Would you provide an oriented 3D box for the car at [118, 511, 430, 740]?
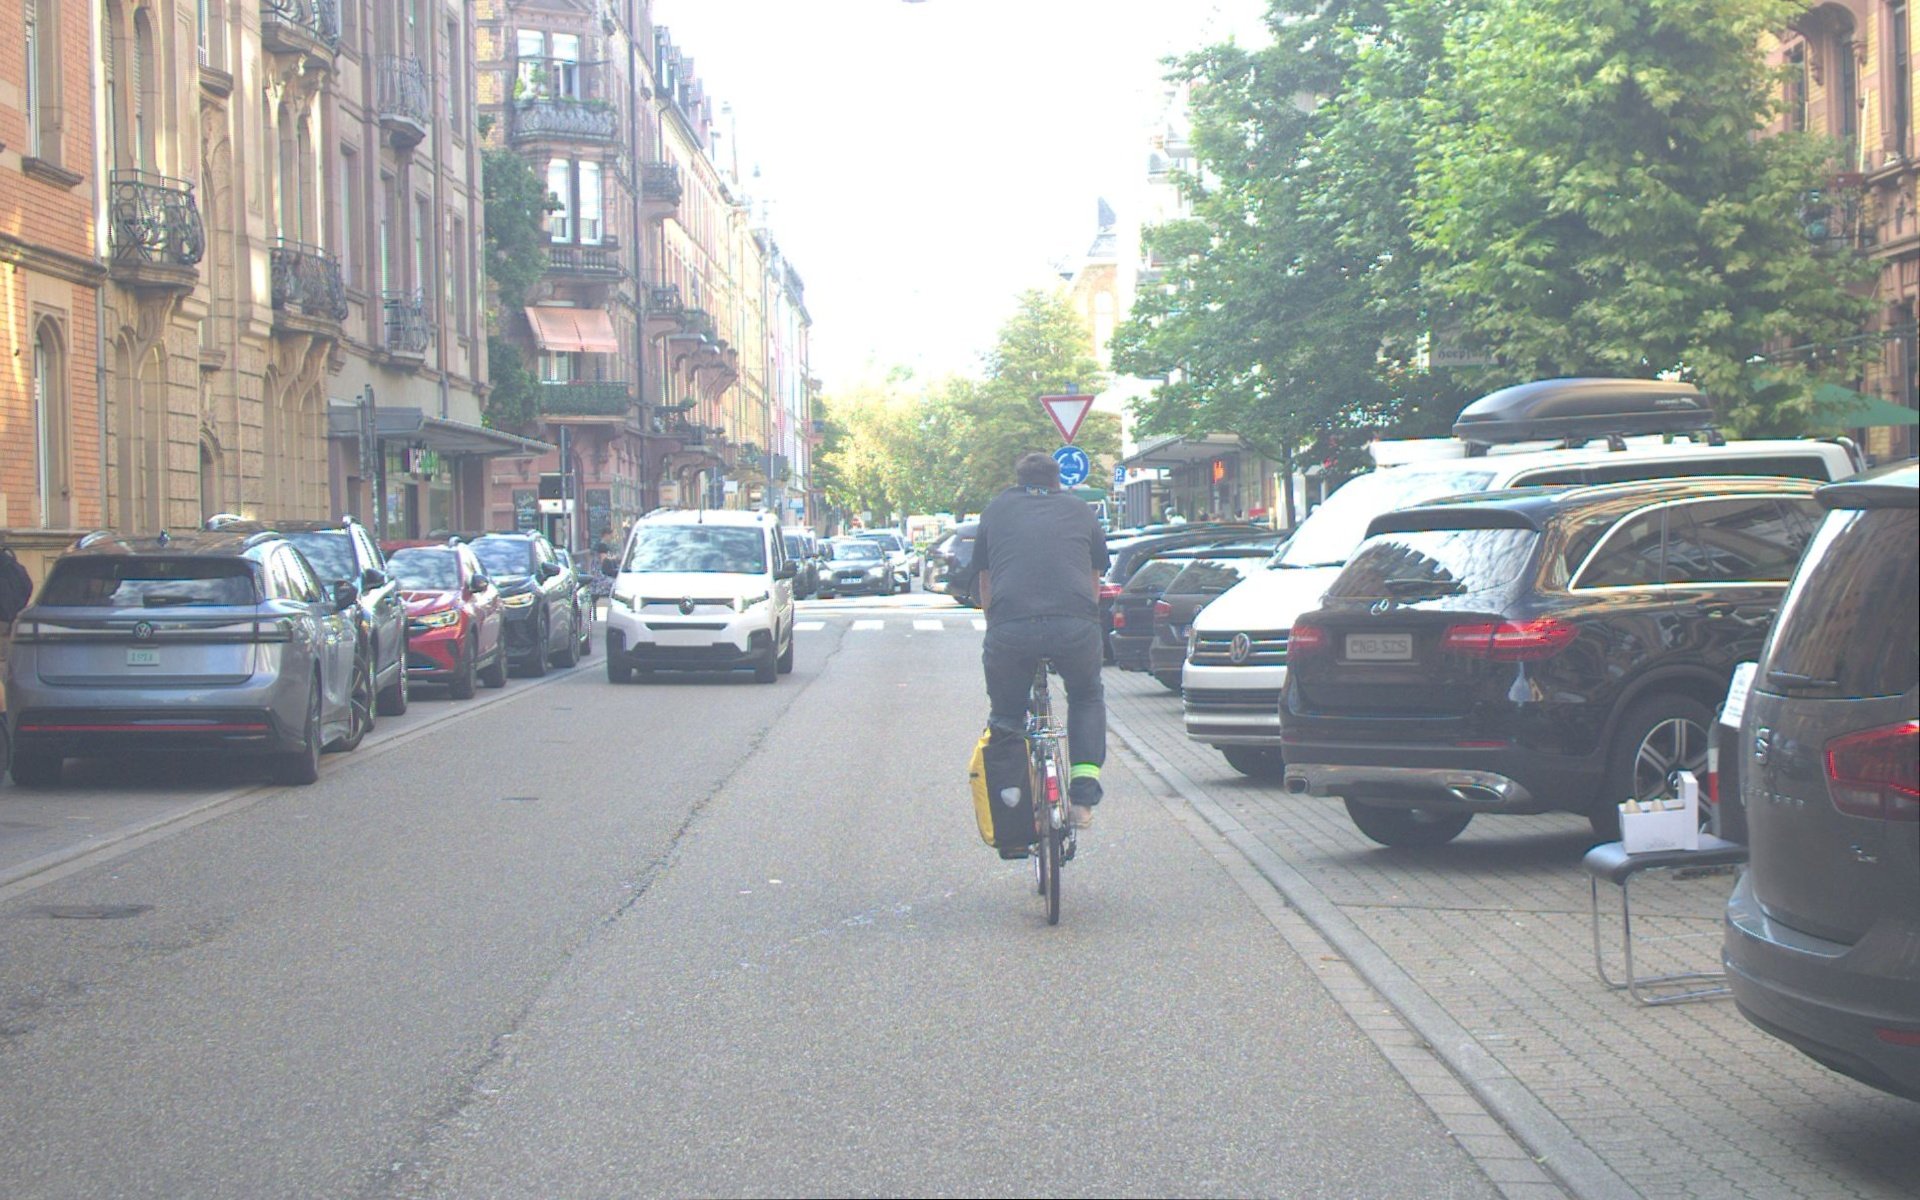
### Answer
[{"bbox_3d":[-5.460,0.130,27.941,1.872,1.675,4.895,0,2,-4],"label":"car"}]

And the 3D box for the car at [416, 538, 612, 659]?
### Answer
[{"bbox_3d":[-5.651,-0.056,44.026,1.993,1.415,4.245,-1,1,-1],"label":"car"}]

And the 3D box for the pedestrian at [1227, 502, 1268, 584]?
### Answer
[{"bbox_3d":[6.502,-1.290,77.756,0.869,1.845,0.612,-1,1,5],"label":"pedestrian"}]

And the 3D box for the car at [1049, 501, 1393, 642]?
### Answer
[{"bbox_3d":[3.613,-0.410,47.529,4.340,1.639,1.822,-4,2,-26],"label":"car"}]

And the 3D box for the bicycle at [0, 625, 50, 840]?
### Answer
[{"bbox_3d":[-5.207,0.658,16.582,0.482,1.055,1.902,1,1,24],"label":"bicycle"}]

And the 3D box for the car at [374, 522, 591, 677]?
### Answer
[{"bbox_3d":[-5.362,-0.037,39.150,1.790,1.623,4.847,-1,1,0],"label":"car"}]

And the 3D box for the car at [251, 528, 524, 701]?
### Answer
[{"bbox_3d":[-5.518,0.100,33.679,1.993,1.539,4.427,-1,1,-1],"label":"car"}]

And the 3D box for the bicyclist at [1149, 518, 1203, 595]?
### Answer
[{"bbox_3d":[4.712,-0.955,74.860,0.856,1.660,0.788,1,1,42],"label":"bicyclist"}]

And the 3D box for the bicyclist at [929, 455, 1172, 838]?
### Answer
[{"bbox_3d":[0.345,0.173,13.645,0.933,1.478,0.747,0,1,-1],"label":"bicyclist"}]

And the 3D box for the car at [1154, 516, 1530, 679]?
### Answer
[{"bbox_3d":[4.026,-0.054,36.012,3.709,1.480,1.741,-4,2,-38],"label":"car"}]

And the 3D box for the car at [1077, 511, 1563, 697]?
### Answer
[{"bbox_3d":[3.503,-0.005,33.133,4.455,1.459,1.879,-4,3,-35],"label":"car"}]

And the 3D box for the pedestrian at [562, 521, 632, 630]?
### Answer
[{"bbox_3d":[-6.065,-0.409,57.435,0.783,1.773,0.791,-1,1,38],"label":"pedestrian"}]

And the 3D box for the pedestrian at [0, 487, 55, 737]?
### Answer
[{"bbox_3d":[-7.134,0.075,25.172,0.756,1.802,0.863,0,1,3],"label":"pedestrian"}]

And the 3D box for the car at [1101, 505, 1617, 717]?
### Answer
[{"bbox_3d":[3.562,0.050,30.230,4.456,1.472,1.889,-6,4,-40],"label":"car"}]

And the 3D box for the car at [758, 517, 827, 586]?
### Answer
[{"bbox_3d":[-5.086,-1.491,104.633,1.993,2.007,4.001,-2,1,-2],"label":"car"}]

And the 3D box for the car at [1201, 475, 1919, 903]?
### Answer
[{"bbox_3d":[3.477,0.299,15.936,4.444,1.726,2.000,-1,2,-35],"label":"car"}]

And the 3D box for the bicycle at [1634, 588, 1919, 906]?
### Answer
[{"bbox_3d":[3.464,0.550,13.429,0.404,1.178,1.918,-3,1,-31],"label":"bicycle"}]

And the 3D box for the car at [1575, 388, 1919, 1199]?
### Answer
[{"bbox_3d":[3.928,0.314,7.786,4.636,1.778,1.810,-4,3,-1],"label":"car"}]

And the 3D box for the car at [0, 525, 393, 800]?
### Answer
[{"bbox_3d":[-4.849,0.311,22.285,1.825,1.573,5.264,0,1,-4],"label":"car"}]

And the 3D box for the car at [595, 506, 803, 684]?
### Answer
[{"bbox_3d":[-2.773,-0.091,37.416,1.917,1.822,4.438,0,1,0],"label":"car"}]

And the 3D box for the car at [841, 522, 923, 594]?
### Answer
[{"bbox_3d":[-2.109,-1.174,94.511,1.943,1.716,4.850,-3,3,2],"label":"car"}]

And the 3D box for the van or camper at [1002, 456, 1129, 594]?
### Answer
[{"bbox_3d":[2.386,-1.726,78.991,2.531,3.027,4.459,-1,1,-2],"label":"van or camper"}]

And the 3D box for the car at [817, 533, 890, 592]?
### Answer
[{"bbox_3d":[-2.638,-0.918,84.780,1.750,1.431,4.212,0,0,-2],"label":"car"}]

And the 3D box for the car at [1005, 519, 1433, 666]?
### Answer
[{"bbox_3d":[3.147,-0.135,41.555,4.753,1.452,2.057,-4,3,-28],"label":"car"}]

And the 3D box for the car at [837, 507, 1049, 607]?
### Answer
[{"bbox_3d":[-0.336,-0.822,65.765,3.987,1.875,2.000,0,1,-1],"label":"car"}]

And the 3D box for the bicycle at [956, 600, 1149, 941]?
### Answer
[{"bbox_3d":[0.328,0.611,13.563,0.665,1.174,2.497,0,1,-1],"label":"bicycle"}]

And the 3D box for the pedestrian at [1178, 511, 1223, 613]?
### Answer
[{"bbox_3d":[4.150,-0.656,59.342,0.629,1.733,0.775,-1,1,12],"label":"pedestrian"}]

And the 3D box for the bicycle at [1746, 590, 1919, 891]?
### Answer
[{"bbox_3d":[3.961,0.556,13.667,0.404,1.178,1.868,-3,1,-31],"label":"bicycle"}]

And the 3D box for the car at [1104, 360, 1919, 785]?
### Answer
[{"bbox_3d":[3.596,-0.249,21.694,5.144,2.397,1.918,-3,1,-33],"label":"car"}]
